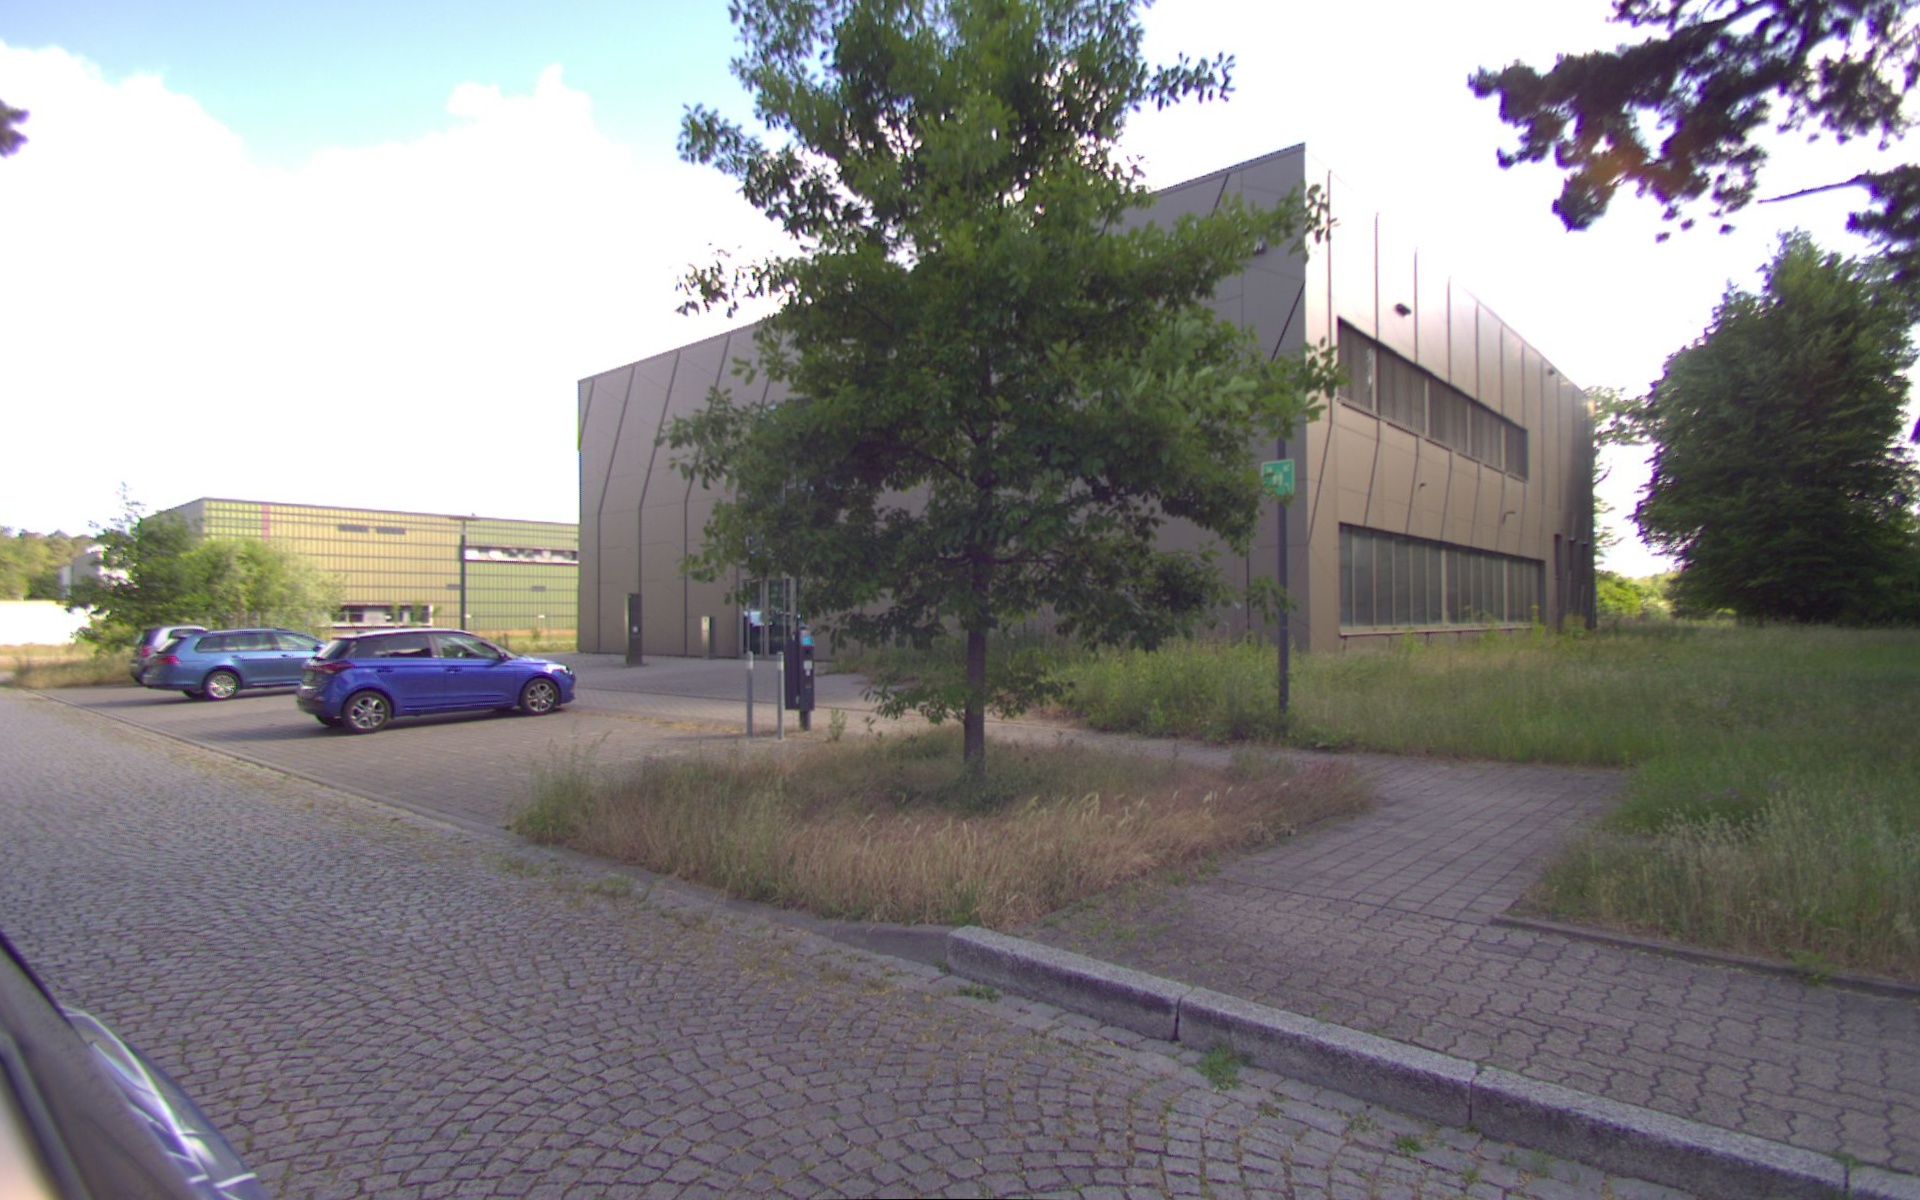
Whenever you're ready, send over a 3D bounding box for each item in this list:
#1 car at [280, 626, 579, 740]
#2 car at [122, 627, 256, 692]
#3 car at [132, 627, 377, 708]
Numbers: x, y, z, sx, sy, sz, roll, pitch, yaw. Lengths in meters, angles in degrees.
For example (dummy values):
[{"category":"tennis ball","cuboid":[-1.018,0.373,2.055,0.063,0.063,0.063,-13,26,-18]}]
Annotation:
[{"category":"car","cuboid":[-8.343,1.213,16.128,1.735,1.479,3.865,-2,-1,44]},{"category":"car","cuboid":[-20.847,1.569,27.401,1.480,1.580,2.619,-2,-1,40]},{"category":"car","cuboid":[-15.450,1.411,22.354,1.733,1.485,4.127,-2,-1,39]}]
